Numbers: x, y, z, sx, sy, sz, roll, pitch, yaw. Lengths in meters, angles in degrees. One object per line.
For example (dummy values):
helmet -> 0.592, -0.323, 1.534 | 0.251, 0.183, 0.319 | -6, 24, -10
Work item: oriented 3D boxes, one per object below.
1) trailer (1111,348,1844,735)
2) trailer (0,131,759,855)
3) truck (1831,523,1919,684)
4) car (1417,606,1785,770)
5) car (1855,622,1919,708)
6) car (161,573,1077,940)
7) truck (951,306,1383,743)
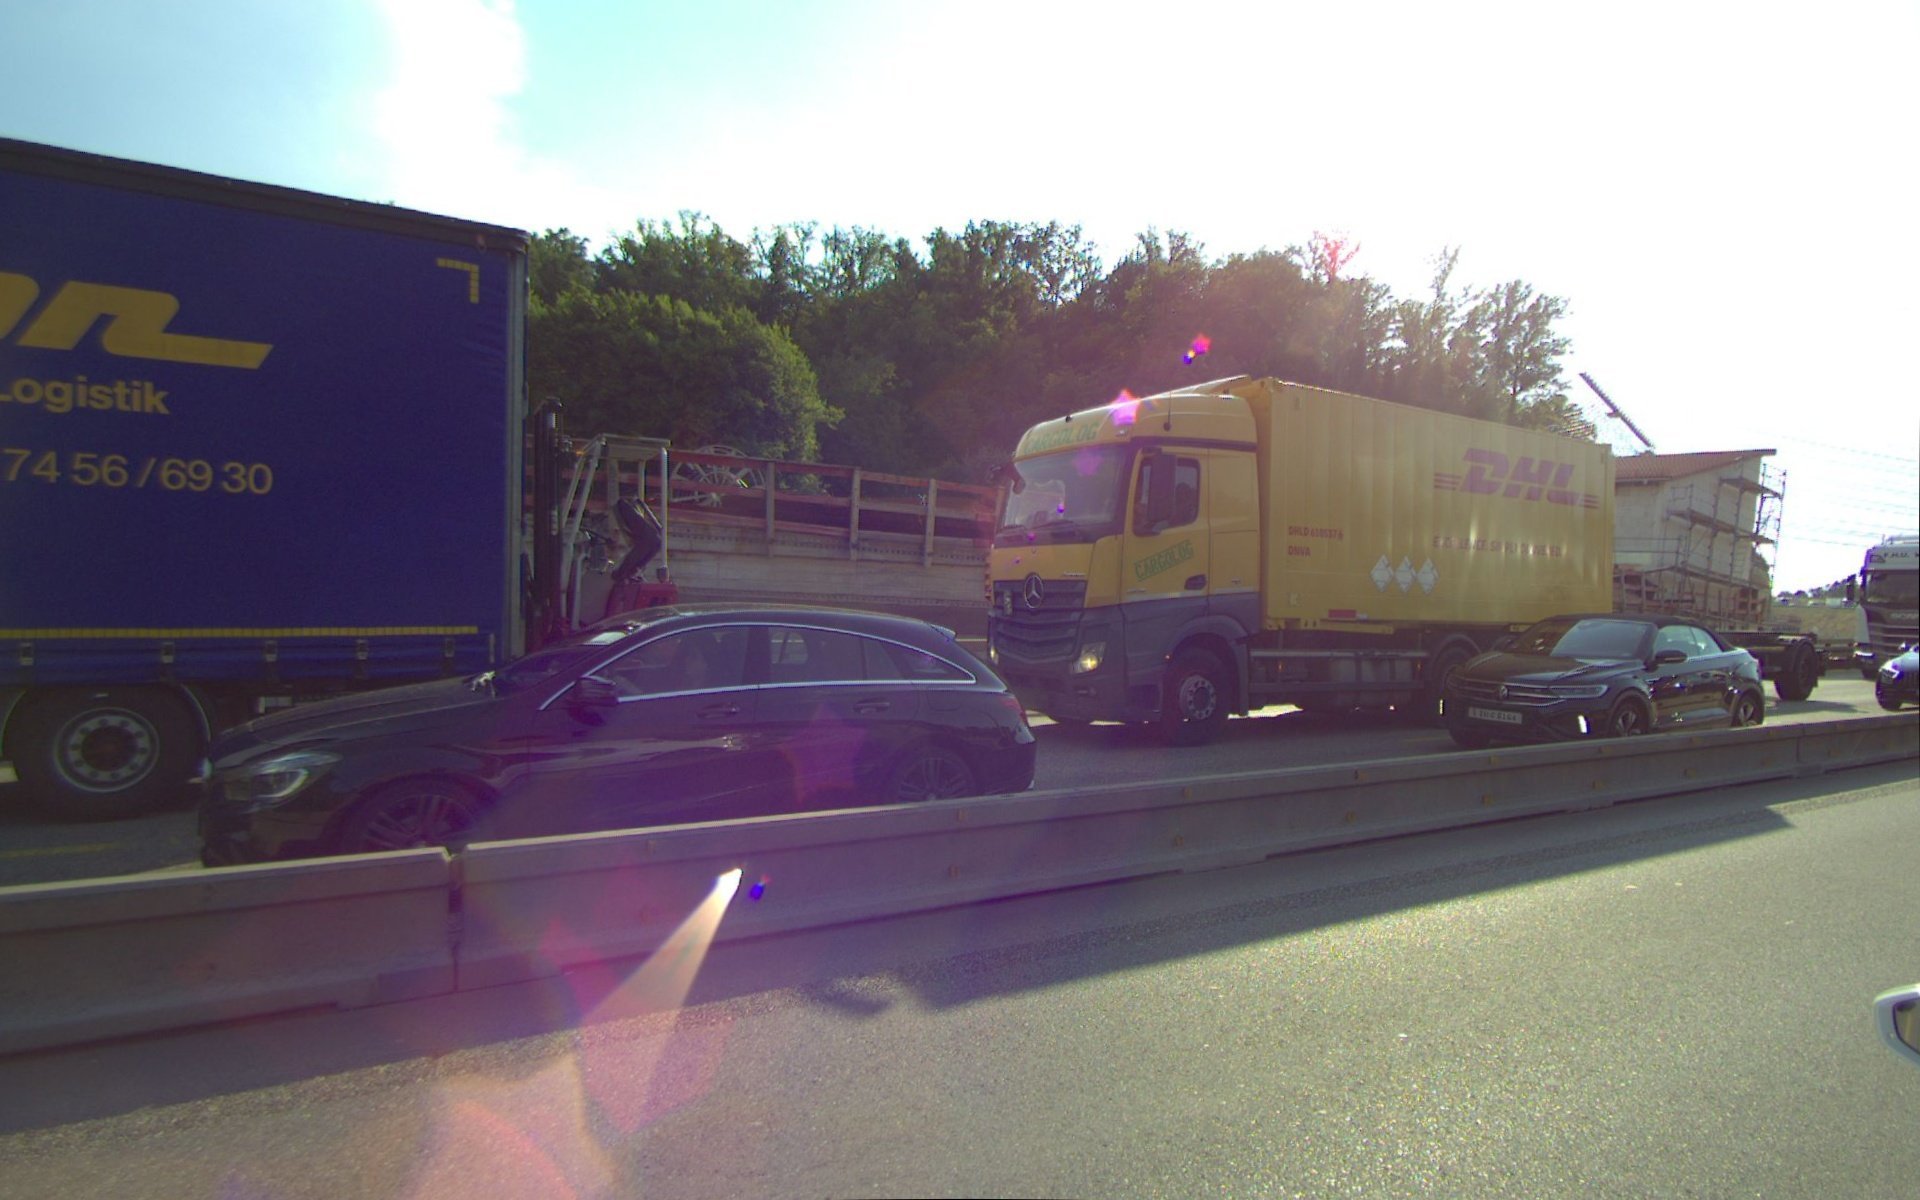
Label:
trailer -> 9.485, -0.325, 16.304 | 15.816, 4.259, 2.687 | 3, -1, -31
trailer -> -9.487, -0.761, 5.092 | 16.555, 4.189, 2.702 | 3, -1, -30
truck -> 29.672, 0.230, 29.226 | 13.745, 4.023, 2.792 | 2, 1, -33
car -> 7.187, 0.907, 11.165 | 4.242, 1.528, 1.708 | 3, -1, -30
car -> 18.150, 1.192, 18.069 | 4.847, 1.420, 1.731 | 3, -1, -31
car -> -1.673, 0.722, 5.992 | 4.563, 1.472, 1.788 | 3, -1, -31
truck -> 2.480, -0.647, 12.032 | 4.349, 4.252, 2.680 | 2, -1, -31
